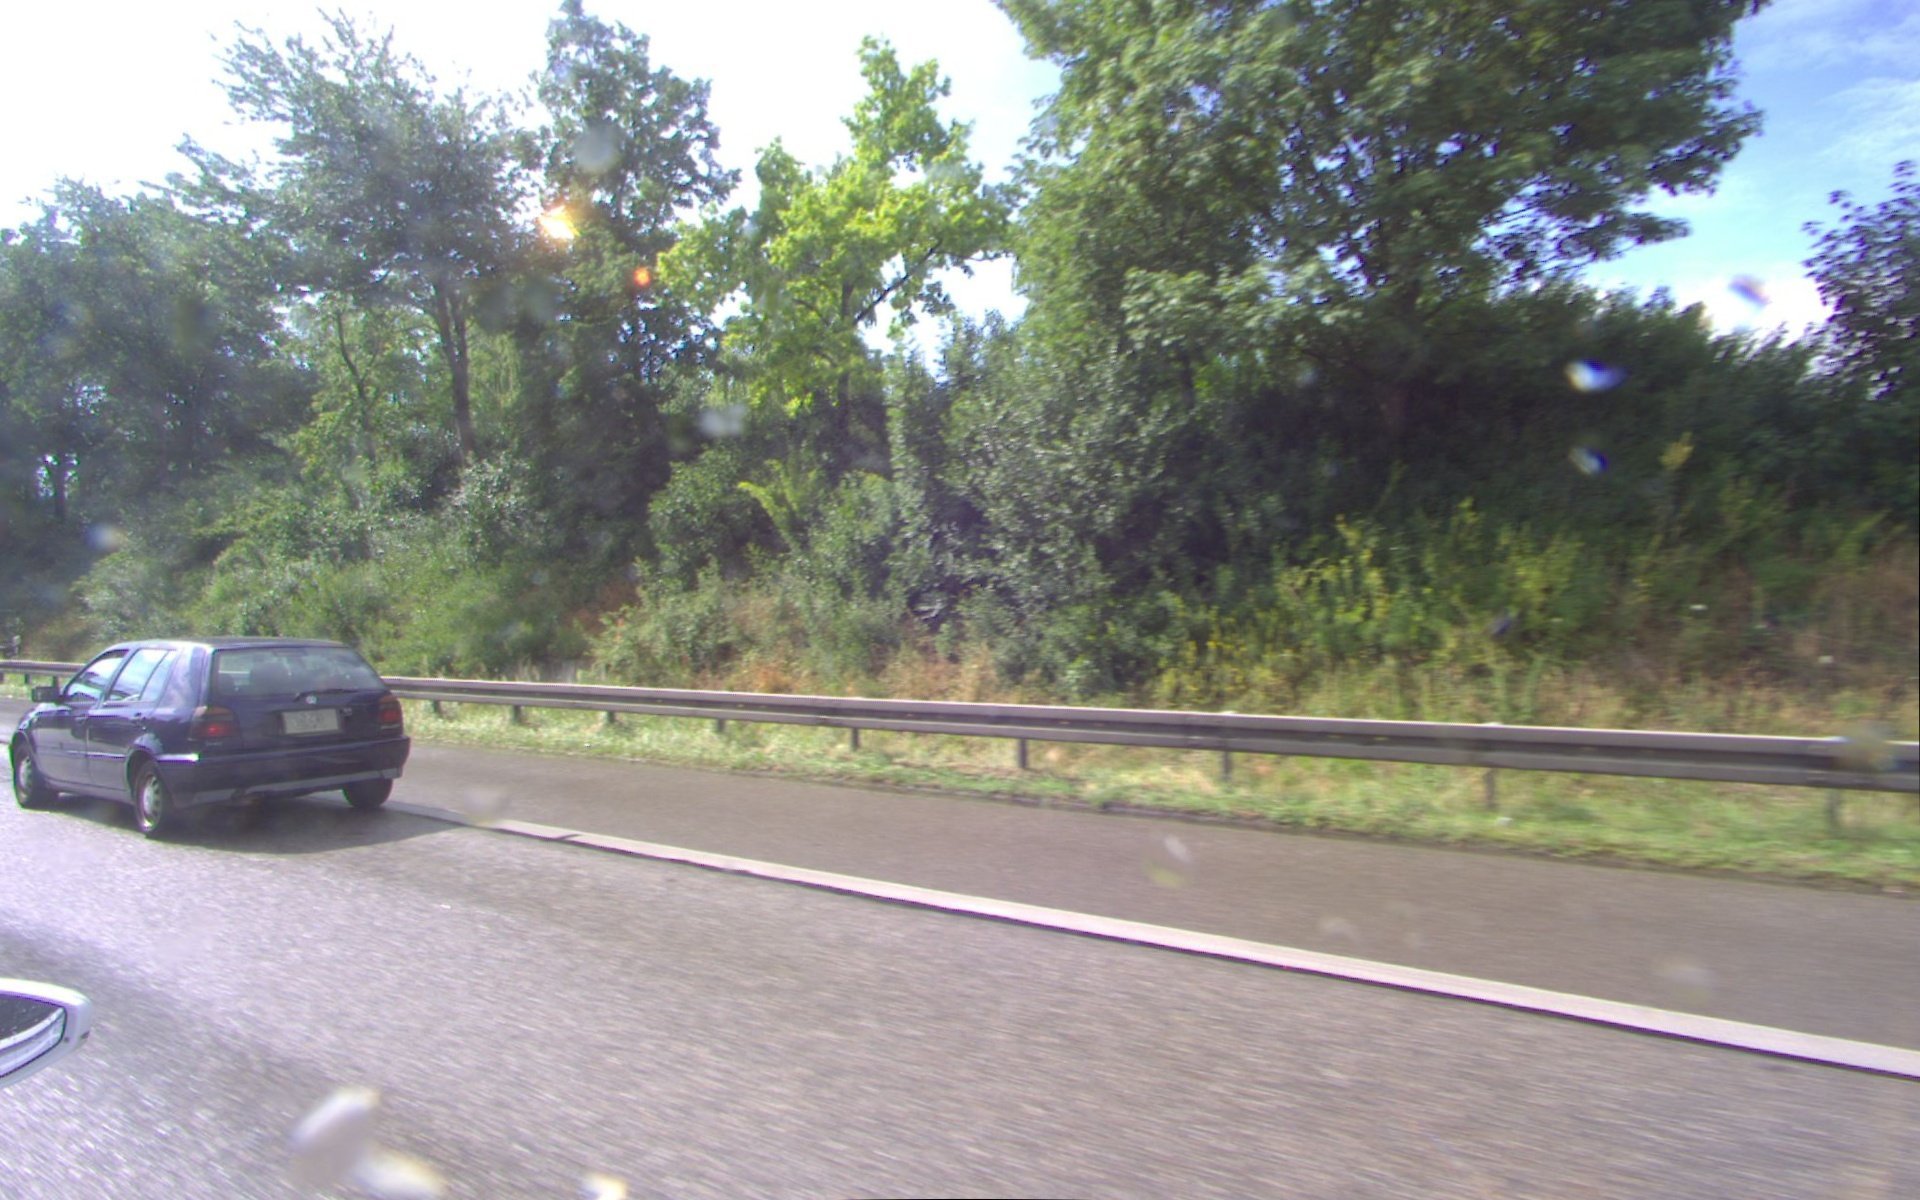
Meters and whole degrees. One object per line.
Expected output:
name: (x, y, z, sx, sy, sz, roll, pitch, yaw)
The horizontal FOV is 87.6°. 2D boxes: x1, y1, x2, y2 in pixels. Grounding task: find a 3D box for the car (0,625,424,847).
car: (-6.323, 0.948, 8.346, 3.690, 1.475, 1.648, -1, -1, 32)
